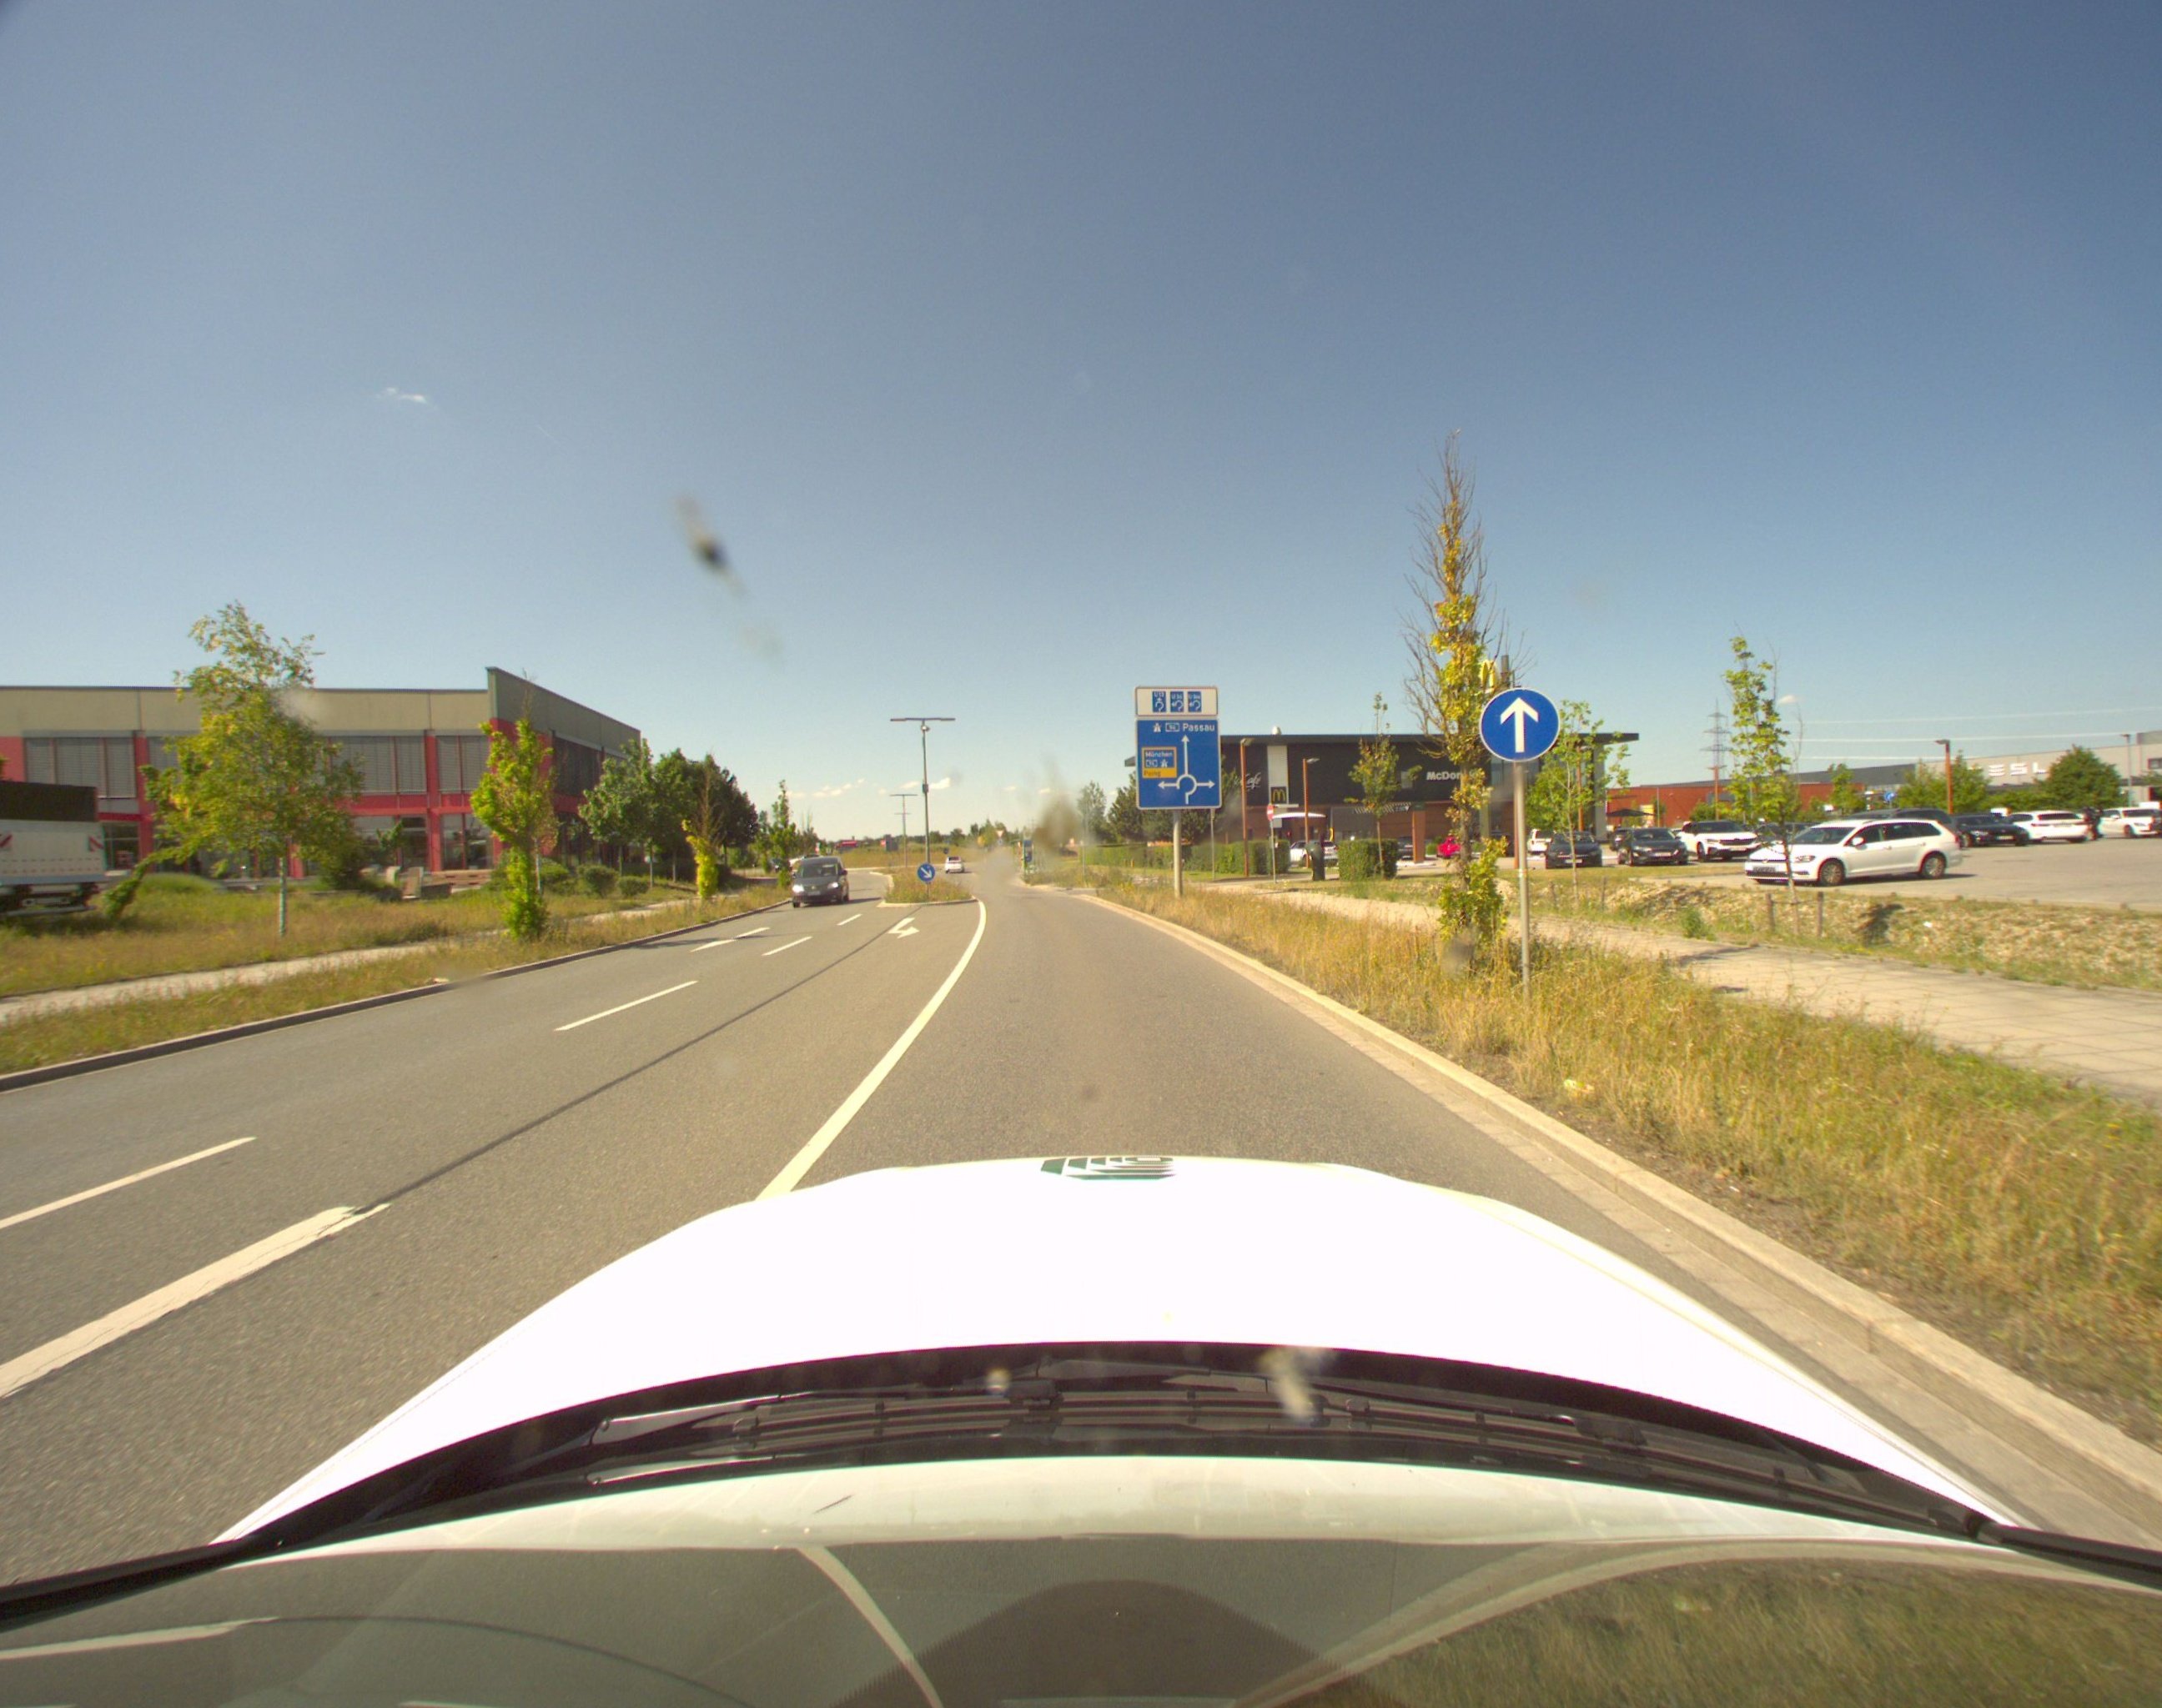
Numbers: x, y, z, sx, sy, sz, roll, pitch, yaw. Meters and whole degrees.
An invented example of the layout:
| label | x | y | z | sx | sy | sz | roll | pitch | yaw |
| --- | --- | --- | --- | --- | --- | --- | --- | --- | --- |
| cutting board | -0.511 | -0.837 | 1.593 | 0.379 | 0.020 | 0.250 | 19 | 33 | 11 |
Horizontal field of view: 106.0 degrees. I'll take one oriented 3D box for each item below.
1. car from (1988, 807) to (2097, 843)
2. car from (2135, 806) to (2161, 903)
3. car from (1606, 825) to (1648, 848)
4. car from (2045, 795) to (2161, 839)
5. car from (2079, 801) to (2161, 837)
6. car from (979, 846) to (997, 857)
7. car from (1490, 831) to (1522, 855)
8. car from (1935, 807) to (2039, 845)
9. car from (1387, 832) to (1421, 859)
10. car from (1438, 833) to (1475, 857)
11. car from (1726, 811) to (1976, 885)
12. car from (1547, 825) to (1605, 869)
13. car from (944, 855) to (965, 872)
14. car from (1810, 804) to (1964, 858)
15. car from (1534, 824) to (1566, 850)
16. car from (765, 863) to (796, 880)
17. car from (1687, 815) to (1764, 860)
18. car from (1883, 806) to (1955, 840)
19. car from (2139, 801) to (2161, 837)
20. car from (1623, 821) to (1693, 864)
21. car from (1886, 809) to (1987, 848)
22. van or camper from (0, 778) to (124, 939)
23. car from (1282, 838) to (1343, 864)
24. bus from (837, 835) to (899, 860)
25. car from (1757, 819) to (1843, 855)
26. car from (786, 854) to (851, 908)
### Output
| label | x | y | z | sx | sy | sz | roll | pitch | yaw |
| --- | --- | --- | --- | --- | --- | --- | --- | --- | --- |
| car | 42.253 | -1.260 | 35.903 | 1.768 | 1.451 | 4.196 | -2 | 0 | 30 |
| car | 18.834 | -0.086 | 12.150 | 4.198 | 1.490 | 1.865 | -3 | 1 | -6 |
| car | 38.852 | -1.274 | 57.890 | 1.776 | 1.520 | 4.024 | -2 | 0 | 43 |
| car | 45.071 | -1.611 | 36.051 | 1.768 | 1.757 | 4.196 | -2 | 0 | 30 |
| car | 48.927 | -1.619 | 37.894 | 1.768 | 1.522 | 4.196 | -2 | 0 | 30 |
| car | -12.959 | -0.384 | 113.130 | 1.622 | 1.434 | 3.766 | -2 | 0 | -21 |
| car | 28.752 | -0.775 | 55.063 | 1.776 | 1.513 | 4.025 | -3 | 0 | 28 |
| car | 39.005 | -1.200 | 35.172 | 1.768 | 1.451 | 4.196 | -2 | 0 | 30 |
| car | 21.280 | -0.571 | 53.734 | 1.778 | 1.604 | 4.019 | -3 | 0 | 18 |
| car | 25.058 | -0.619 | 54.425 | 1.778 | 1.434 | 4.019 | -3 | 0 | 18 |
| car | 18.464 | -0.159 | 19.636 | 4.519 | 1.490 | 1.865 | -3 | 1 | -6 |
| car | 18.368 | -0.293 | 30.301 | 1.681 | 1.462 | 4.196 | -2 | 0 | 30 |
| car | -11.402 | 0.861 | 73.120 | 1.618 | 1.434 | 3.777 | -2 | 0 | -12 |
| car | 27.322 | -0.781 | 27.651 | 4.161 | 1.635 | 1.783 | -3 | 0 | -14 |
| car | 32.432 | -1.170 | 56.396 | 1.775 | 1.702 | 4.025 | -3 | 0 | 29 |
| car | -30.888 | 1.854 | 83.554 | 1.773 | 1.543 | 4.193 | -5 | 1 | -37 |
| car | 25.236 | -0.647 | 32.013 | 1.768 | 1.579 | 4.196 | -2 | 0 | 30 |
| car | 47.988 | -1.756 | 46.722 | 1.768 | 1.757 | 4.196 | -2 | 0 | 30 |
| car | 47.789 | -1.564 | 33.926 | 4.115 | 1.522 | 1.803 | -2 | 0 | 35 |
| car | 21.932 | -0.461 | 31.072 | 1.768 | 1.462 | 4.196 | -2 | 0 | 30 |
| car | 35.497 | -1.046 | 33.918 | 1.768 | 1.451 | 4.196 | -2 | 0 | 30 |
| van or camper | -27.207 | 0.222 | 18.222 | 7.686 | 3.468 | 2.549 | -2 | 0 | -7 |
| car | 13.591 | -0.165 | 48.038 | 1.794 | 1.434 | 3.983 | -3 | 0 | -13 |
| bus | -30.836 | -1.015 | 118.774 | 2.765 | 3.078 | 12.258 | -2 | 2 | 16 |
| car | 28.764 | -0.681 | 32.727 | 1.768 | 1.297 | 4.196 | -2 | 0 | 30 |
| car | -9.845 | 0.944 | 30.832 | 1.954 | 1.794 | 4.405 | -4 | 1 | -14 |
